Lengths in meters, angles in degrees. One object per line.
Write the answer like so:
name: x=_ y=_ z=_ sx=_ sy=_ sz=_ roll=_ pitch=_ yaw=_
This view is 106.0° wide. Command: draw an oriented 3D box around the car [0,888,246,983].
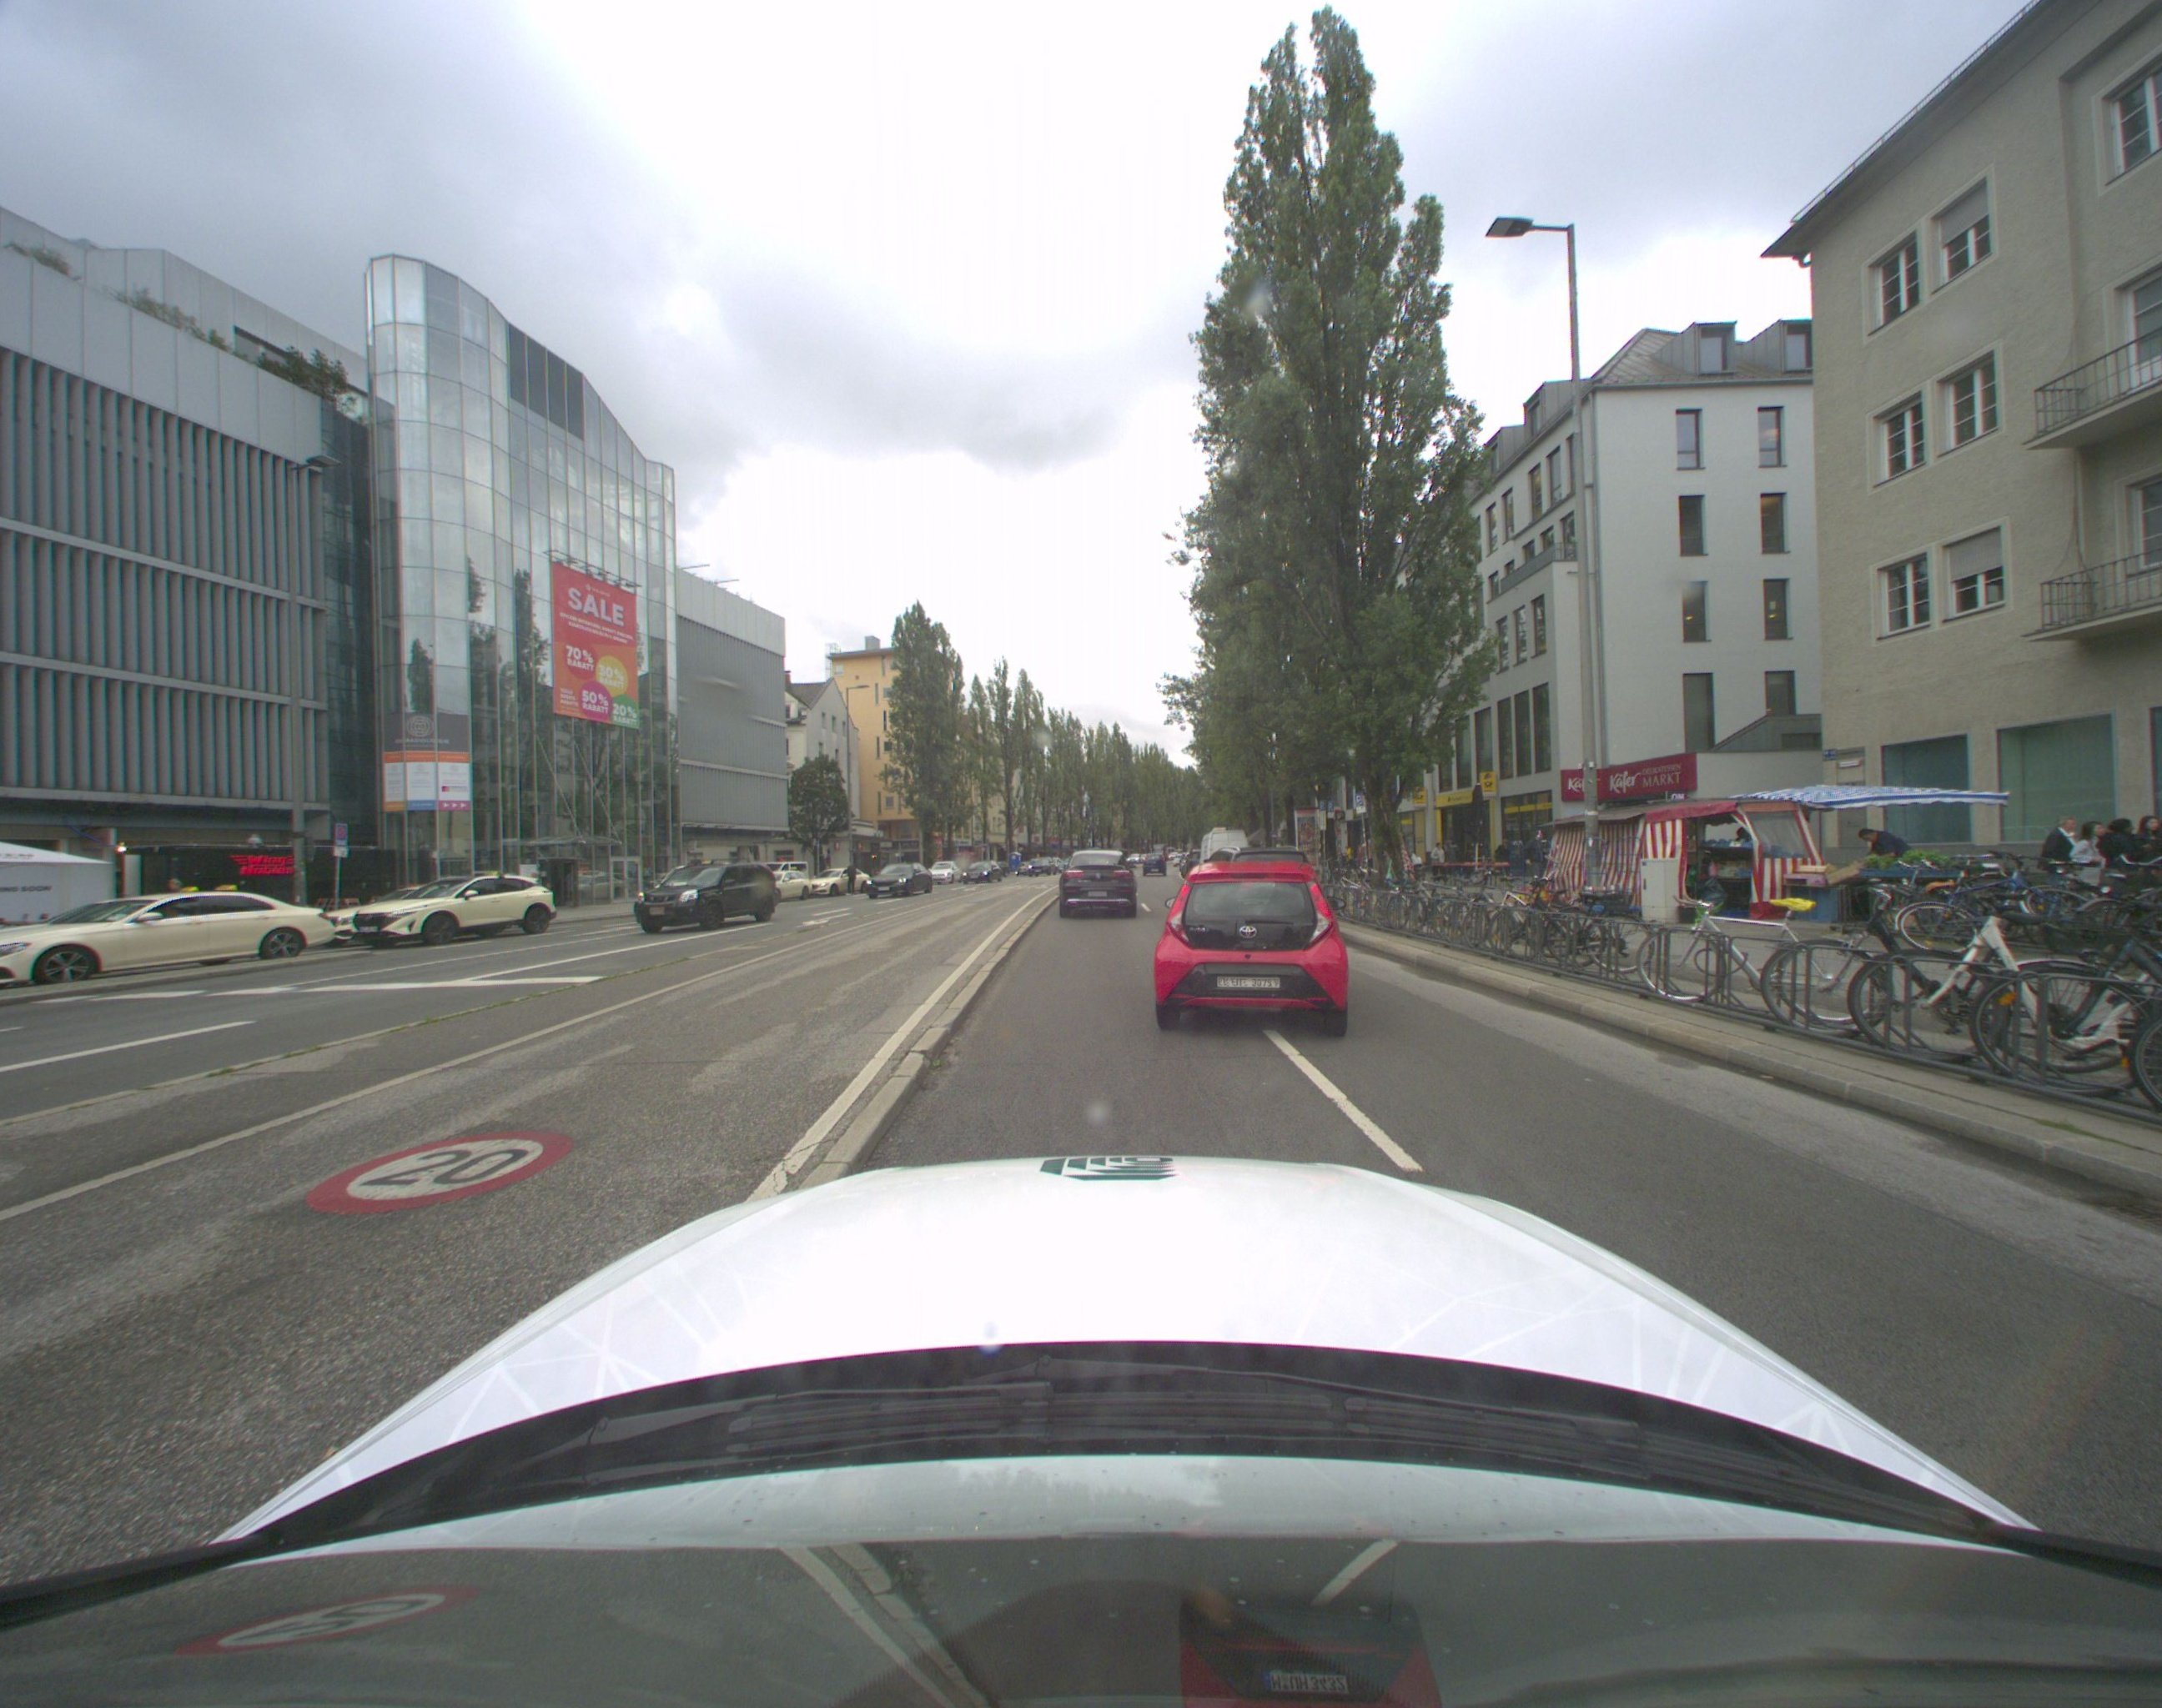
car: x=-19.832 y=1.557 z=16.316 sx=1.742 sy=1.536 sz=4.010 roll=-2 pitch=0 yaw=9

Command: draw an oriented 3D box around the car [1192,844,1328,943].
car: x=3.272 y=0.660 z=15.681 sx=1.755 sy=1.613 sz=4.184 roll=-1 pitch=0 yaw=1

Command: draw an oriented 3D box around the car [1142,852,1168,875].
car: x=5.374 y=0.665 z=58.754 sx=1.750 sy=1.619 sz=3.754 roll=0 pitch=-1 yaw=7

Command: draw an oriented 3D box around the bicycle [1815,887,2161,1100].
bicycle: x=5.714 y=0.795 z=4.934 sx=0.400 sy=1.059 sz=1.830 roll=1 pitch=2 yaw=-44

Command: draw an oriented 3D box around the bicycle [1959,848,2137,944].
bicycle: x=12.097 y=0.513 z=10.207 sx=1.622 sy=1.103 sz=0.410 roll=-3 pitch=-1 yaw=2

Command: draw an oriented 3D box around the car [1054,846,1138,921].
car: x=0.422 y=0.677 z=20.936 sx=1.873 sy=1.642 sz=4.585 roll=-2 pitch=0 yaw=2

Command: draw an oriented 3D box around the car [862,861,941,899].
car: x=-8.076 y=1.132 z=37.243 sx=1.983 sy=1.507 sz=5.030 roll=-2 pitch=0 yaw=6

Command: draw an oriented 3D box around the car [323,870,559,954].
car: x=-15.727 y=1.352 z=20.377 sx=1.873 sy=1.698 sz=4.397 roll=-3 pitch=0 yaw=12

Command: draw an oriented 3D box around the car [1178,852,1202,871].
car: x=9.827 y=0.684 z=73.072 sx=1.913 sy=1.700 sz=4.662 roll=0 pitch=-1 yaw=10

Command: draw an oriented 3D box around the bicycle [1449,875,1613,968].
bicycle: x=5.767 y=0.832 z=10.516 sx=1.779 sy=1.010 sz=0.388 roll=3 pitch=2 yaw=43

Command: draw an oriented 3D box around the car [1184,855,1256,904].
car: x=4.510 y=0.788 z=26.051 sx=1.531 sy=1.460 sz=3.452 roll=-1 pitch=-1 yaw=22

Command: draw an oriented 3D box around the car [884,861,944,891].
car: x=-9.833 y=1.274 z=48.373 sx=1.949 sy=1.546 sz=4.956 roll=-3 pitch=0 yaw=6

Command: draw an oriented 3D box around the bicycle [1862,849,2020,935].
bicycle: x=12.069 y=0.528 z=11.451 sx=1.621 sy=1.103 sz=0.411 roll=-3 pitch=-1 yaw=5

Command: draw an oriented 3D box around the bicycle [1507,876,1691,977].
bicycle: x=6.106 y=0.819 z=9.679 sx=1.779 sy=1.010 sz=0.388 roll=3 pitch=2 yaw=39

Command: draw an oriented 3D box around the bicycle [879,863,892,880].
bicycle: x=-14.037 y=1.275 z=58.525 sx=0.365 sy=1.201 sz=1.158 roll=-2 pitch=0 yaw=15

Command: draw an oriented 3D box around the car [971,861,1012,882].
car: x=-7.950 y=1.526 z=72.583 sx=1.740 sy=1.816 sz=4.023 roll=-1 pitch=-1 yaw=26

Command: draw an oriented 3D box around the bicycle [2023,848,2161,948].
bicycle: x=12.230 y=0.505 z=9.560 sx=1.619 sy=1.103 sz=0.411 roll=-3 pitch=-1 yaw=9

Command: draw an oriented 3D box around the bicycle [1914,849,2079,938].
bicycle: x=12.220 y=0.521 z=10.892 sx=1.622 sy=1.103 sz=0.410 roll=-3 pitch=-1 yaw=2

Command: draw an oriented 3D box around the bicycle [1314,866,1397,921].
bicycle: x=5.846 y=0.823 z=17.402 sx=1.556 sy=1.054 sz=0.550 roll=3 pitch=2 yaw=39

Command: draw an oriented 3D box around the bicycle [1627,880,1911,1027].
bicycle: x=5.777 y=0.788 z=6.960 sx=1.779 sy=1.010 sz=0.388 roll=3 pitch=2 yaw=39

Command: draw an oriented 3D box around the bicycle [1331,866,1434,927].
bicycle: x=5.916 y=0.806 z=16.049 sx=1.779 sy=1.054 sz=0.550 roll=3 pitch=2 yaw=39

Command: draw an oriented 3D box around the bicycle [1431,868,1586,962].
bicycle: x=5.833 y=0.799 z=11.170 sx=1.779 sy=1.105 sz=0.550 roll=3 pitch=2 yaw=39

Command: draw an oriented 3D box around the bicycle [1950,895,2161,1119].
bicycle: x=5.733 y=0.811 z=4.092 sx=0.400 sy=1.059 sz=1.830 roll=1 pitch=2 yaw=-44

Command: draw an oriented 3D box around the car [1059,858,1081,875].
car: x=-1.059 y=1.304 z=83.857 sx=1.809 sy=1.545 sz=4.005 roll=-4 pitch=0 yaw=4

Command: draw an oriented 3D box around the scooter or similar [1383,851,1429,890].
scooter or similar: x=10.853 y=0.546 z=27.173 sx=1.468 sy=1.207 sz=0.398 roll=-2 pitch=0 yaw=-18

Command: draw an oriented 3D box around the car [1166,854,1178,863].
car: x=18.633 y=0.925 z=166.767 sx=1.847 sy=1.711 sz=4.553 roll=-3 pitch=0 yaw=13

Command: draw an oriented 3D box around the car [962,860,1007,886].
car: x=-6.250 y=1.208 z=53.243 sx=1.827 sy=1.487 sz=4.742 roll=-2 pitch=0 yaw=6

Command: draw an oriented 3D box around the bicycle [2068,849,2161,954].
bicycle: x=12.071 y=0.499 z=8.977 sx=1.619 sy=1.103 sz=0.411 roll=-3 pitch=-1 yaw=9

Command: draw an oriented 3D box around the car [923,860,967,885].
car: x=-9.311 y=1.239 z=56.101 sx=1.985 sy=1.600 sz=4.294 roll=-2 pitch=0 yaw=4

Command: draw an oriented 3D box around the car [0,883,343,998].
car: x=-16.871 y=1.421 z=14.818 sx=1.934 sy=1.540 sz=4.862 roll=-2 pitch=0 yaw=11

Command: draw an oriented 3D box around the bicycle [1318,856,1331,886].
bicycle: x=9.890 y=0.690 z=33.025 sx=0.473 sy=1.160 sz=1.833 roll=-1 pitch=0 yaw=17

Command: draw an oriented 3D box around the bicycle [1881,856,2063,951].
bicycle: x=10.763 y=0.595 z=9.880 sx=1.458 sy=1.078 sz=0.412 roll=-3 pitch=-1 yaw=16

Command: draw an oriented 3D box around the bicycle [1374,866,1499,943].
bicycle: x=5.815 y=0.788 z=13.386 sx=1.779 sy=1.105 sz=0.550 roll=3 pitch=2 yaw=39

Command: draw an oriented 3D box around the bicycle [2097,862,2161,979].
bicycle: x=10.859 y=0.606 z=7.825 sx=1.440 sy=1.078 sz=0.411 roll=-3 pitch=-1 yaw=8

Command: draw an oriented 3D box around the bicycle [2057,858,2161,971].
bicycle: x=11.019 y=0.594 z=8.300 sx=1.471 sy=1.078 sz=0.411 roll=-3 pitch=-1 yaw=5

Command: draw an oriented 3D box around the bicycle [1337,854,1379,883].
bicycle: x=11.698 y=0.602 z=34.457 sx=1.616 sy=1.160 sz=0.708 roll=-1 pitch=0 yaw=14

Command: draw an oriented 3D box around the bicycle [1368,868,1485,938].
bicycle: x=5.932 y=0.822 z=14.051 sx=1.779 sy=1.054 sz=0.369 roll=3 pitch=1 yaw=39

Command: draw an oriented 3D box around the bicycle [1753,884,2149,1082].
bicycle: x=5.757 y=0.796 z=5.554 sx=1.779 sy=1.059 sz=0.400 roll=3 pitch=1 yaw=39

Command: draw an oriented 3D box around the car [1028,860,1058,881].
car: x=-3.193 y=1.401 z=69.453 sx=1.984 sy=1.621 sz=4.418 roll=-3 pitch=0 yaw=4

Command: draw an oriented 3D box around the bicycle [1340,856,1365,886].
bicycle: x=10.999 y=0.682 z=33.011 sx=0.475 sy=1.160 sz=1.634 roll=-1 pitch=0 yaw=2
